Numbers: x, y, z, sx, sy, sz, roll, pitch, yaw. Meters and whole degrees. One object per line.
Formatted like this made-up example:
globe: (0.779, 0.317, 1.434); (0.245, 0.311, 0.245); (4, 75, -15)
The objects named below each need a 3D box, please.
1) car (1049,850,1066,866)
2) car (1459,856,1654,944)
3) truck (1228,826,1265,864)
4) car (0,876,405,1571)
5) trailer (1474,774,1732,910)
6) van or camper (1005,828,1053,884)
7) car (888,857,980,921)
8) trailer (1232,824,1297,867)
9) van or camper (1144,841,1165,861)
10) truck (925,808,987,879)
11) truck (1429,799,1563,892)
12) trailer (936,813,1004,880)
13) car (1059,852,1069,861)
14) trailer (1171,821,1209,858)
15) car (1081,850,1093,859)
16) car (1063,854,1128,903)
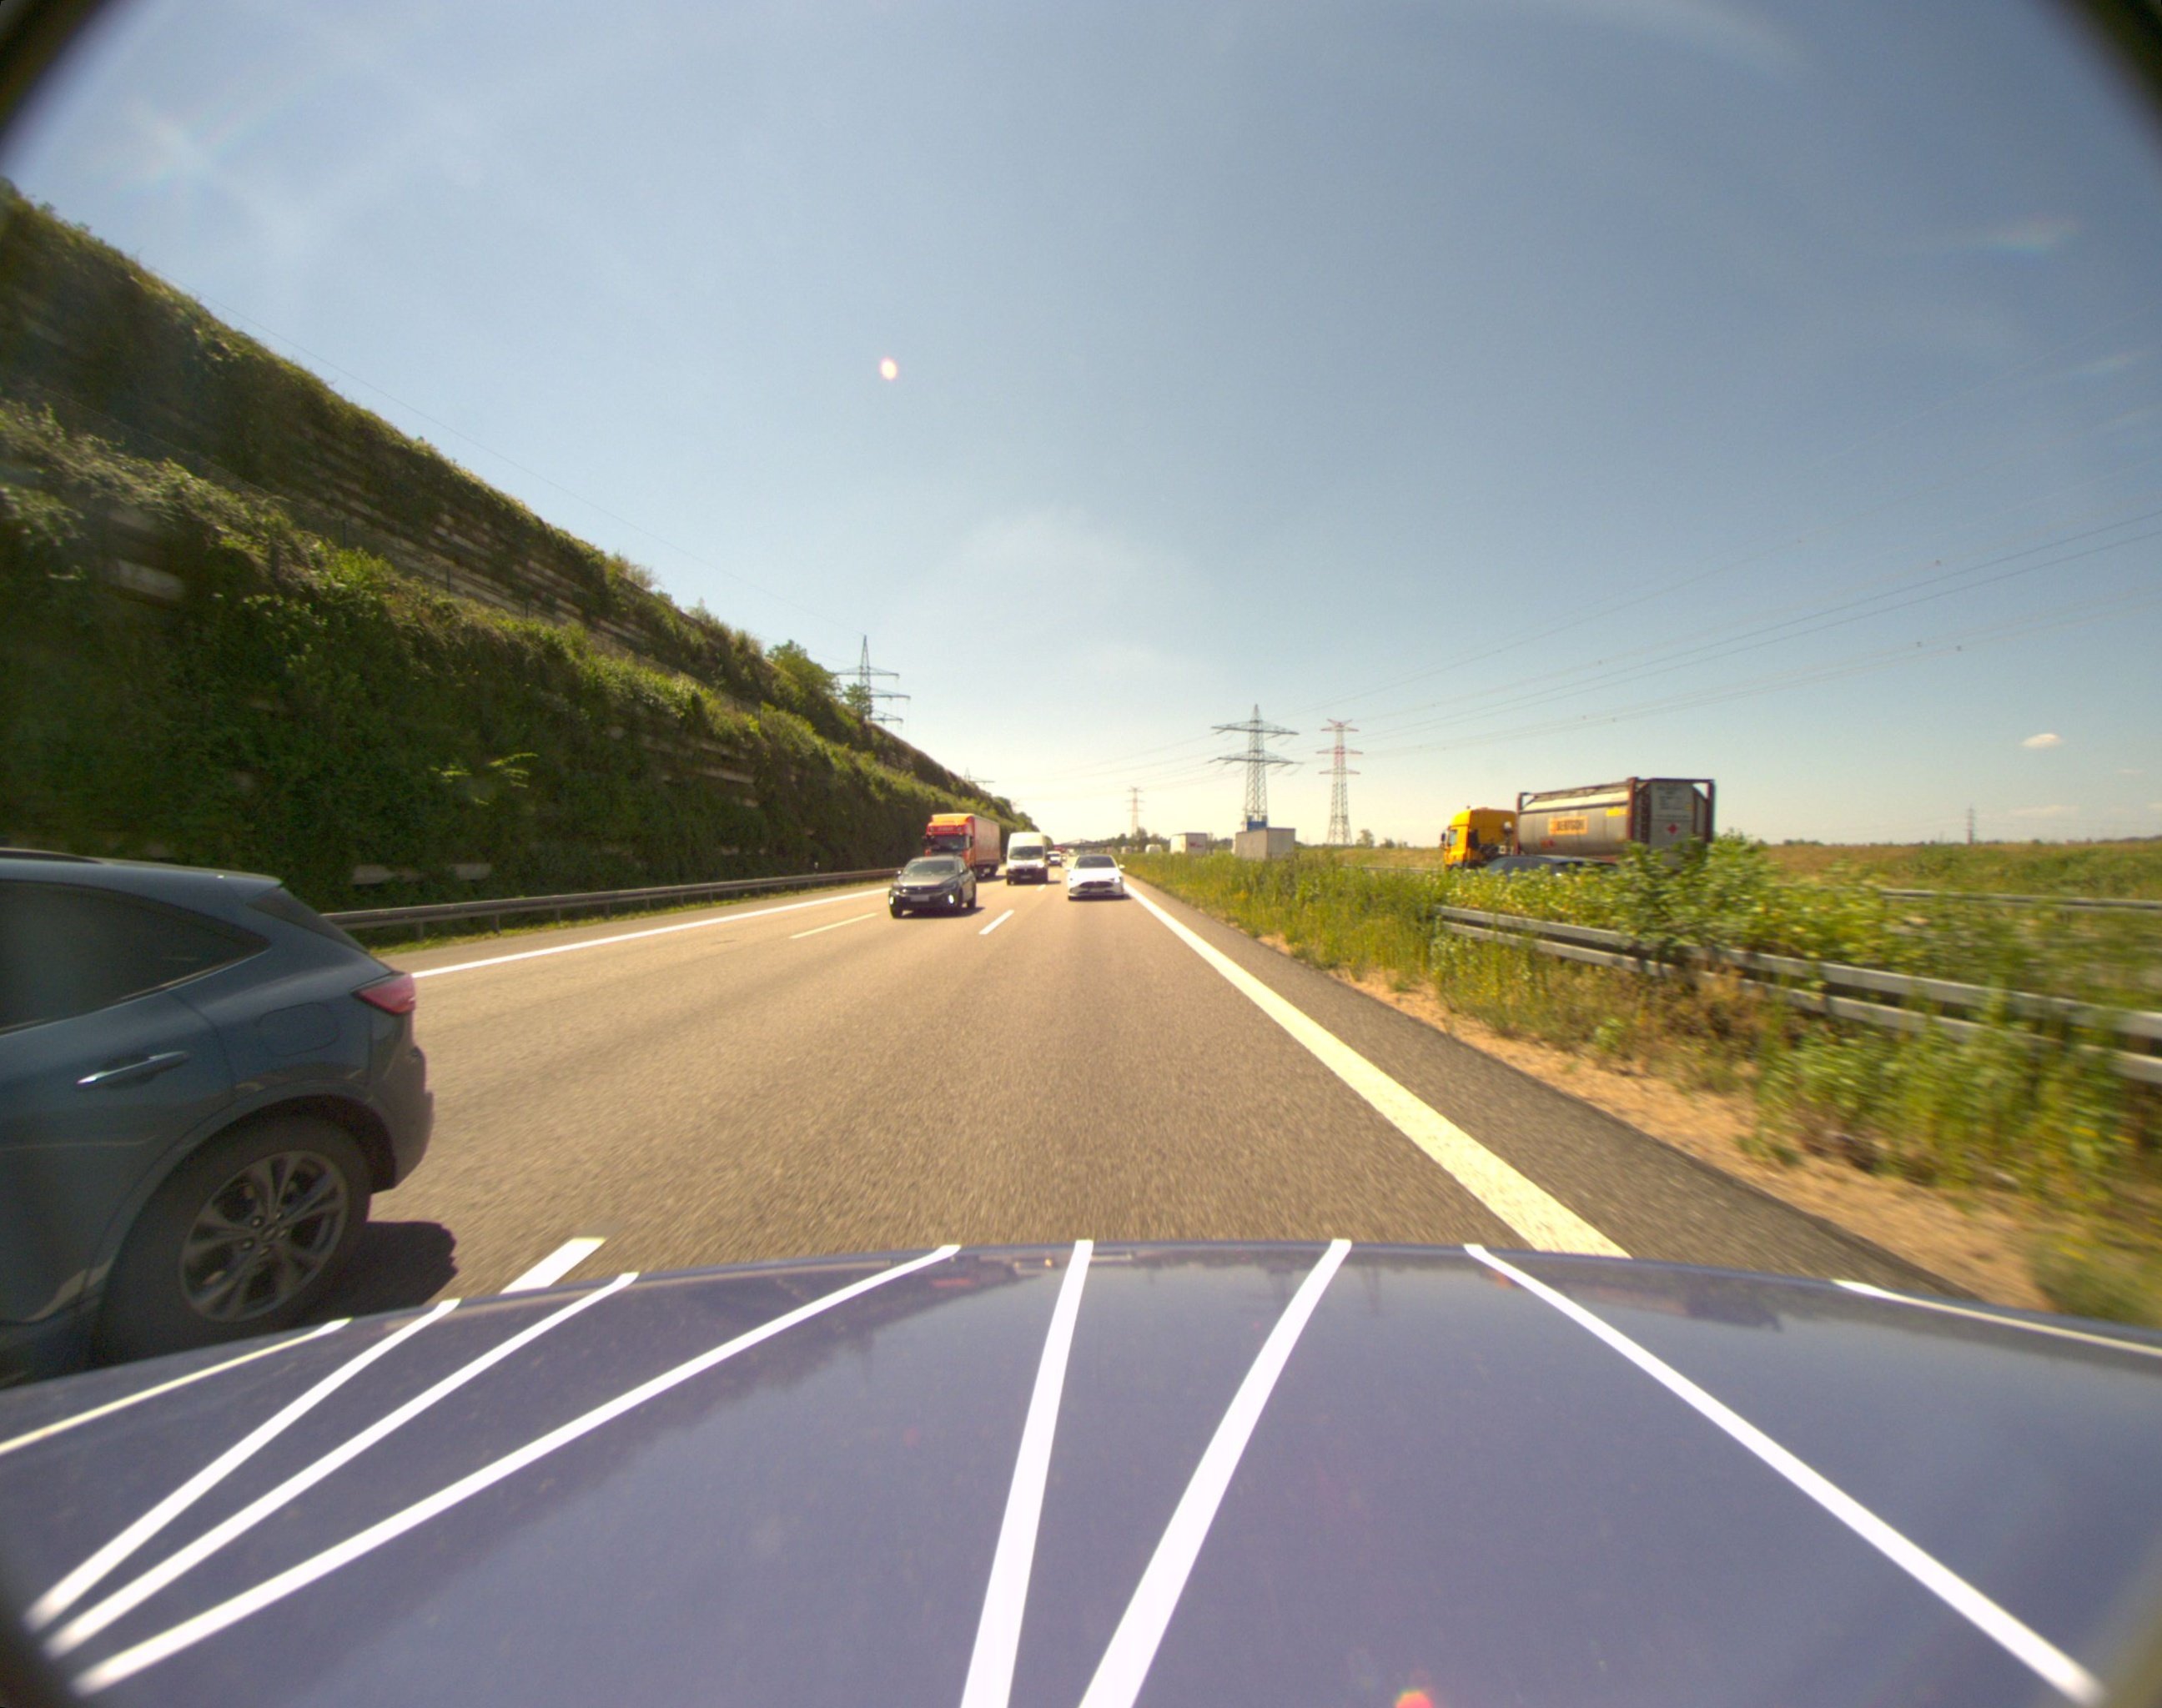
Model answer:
car: (-2.677, 0.465, 87.691); (1.784, 1.783, 3.999); (-1, 0, 0)
car: (9.531, 0.831, 15.633); (1.473, 1.543, 3.999); (0, 0, 0)
truck: (17.705, -0.949, 81.586); (2.783, 3.831, 5.569); (-2, 1, 0)
car: (-3.532, 0.936, 0.843); (1.798, 1.643, 4.137); (-1, 0, 0)
trailer: (17.855, -0.388, 27.156); (2.743, 4.022, 9.423); (0, 0, 0)
van or camper: (-2.696, 0.079, 41.139); (2.102, 2.753, 6.756); (-1, 0, 0)
car: (-3.914, 0.873, 20.865); (1.753, 1.516, 3.995); (-1, 1, 0)
trailer: (17.825, -0.830, 75.040); (2.776, 3.807, 14.237); (-2, 0, -1)
van or camper: (10.015, -0.414, 103.753); (1.999, 2.567, 6.284); (4, 0, 0)
truck: (-7.498, -0.596, 46.428); (2.624, 3.969, 6.525); (-1, 0, 0)
truck: (17.810, -0.346, 33.059); (2.732, 3.706, 5.645); (0, 1, 0)
trailer: (-7.464, -0.490, 53.190); (2.652, 3.981, 13.604); (-1, 0, 0)
car: (-3.058, 0.468, 136.932); (1.784, 1.475, 3.999); (-2, 0, -2)
trailer: (13.862, -1.764, 98.190); (2.776, 4.324, 14.238); (1, 0, 0)
car: (0.935, 0.041, 122.466); (1.784, 1.475, 3.999); (0, 0, -2)
car: (0.414, 0.771, 25.746); (1.999, 1.474, 4.107); (-1, 0, -1)
